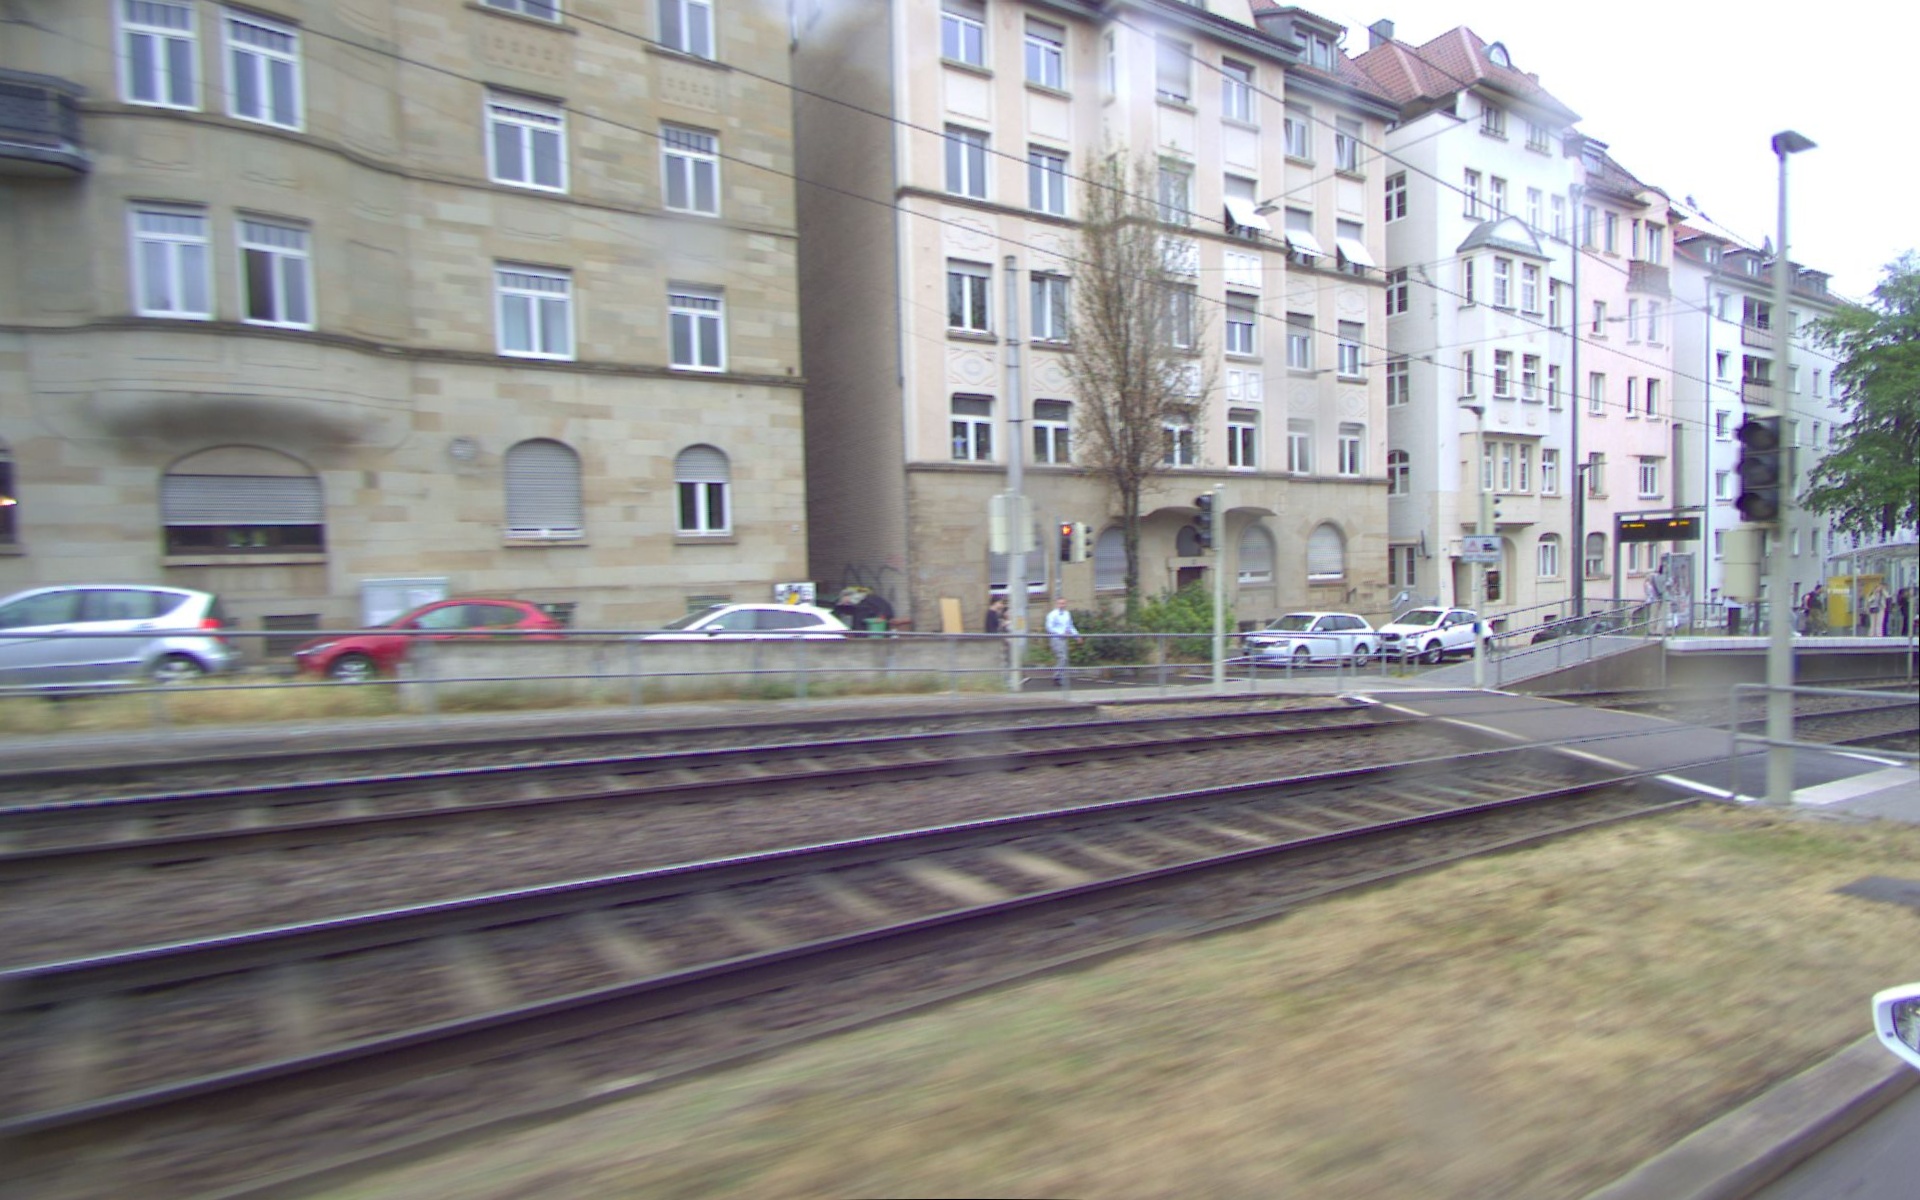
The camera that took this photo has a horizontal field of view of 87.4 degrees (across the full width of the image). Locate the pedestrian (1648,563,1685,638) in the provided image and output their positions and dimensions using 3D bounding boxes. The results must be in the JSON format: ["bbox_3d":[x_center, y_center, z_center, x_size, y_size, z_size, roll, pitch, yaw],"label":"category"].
[{"bbox_3d":[18.031,0.026,25.626,0.592,1.874,0.558,1,-2,-32],"label":"pedestrian"}]

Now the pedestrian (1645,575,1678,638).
[{"bbox_3d":[18.327,0.170,26.236,0.556,1.626,0.513,1,-2,-32],"label":"pedestrian"}]

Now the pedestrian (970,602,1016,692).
[{"bbox_3d":[0.611,0.853,18.557,0.613,1.614,0.622,1,0,-30],"label":"pedestrian"}]

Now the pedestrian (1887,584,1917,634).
[{"bbox_3d":[32.131,0.307,34.265,0.585,1.688,0.591,1,-2,-32],"label":"pedestrian"}]

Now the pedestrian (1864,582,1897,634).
[{"bbox_3d":[30.204,0.262,32.963,0.753,1.688,0.591,1,-2,-32],"label":"pedestrian"}]

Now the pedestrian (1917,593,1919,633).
[{"bbox_3d":[34.771,0.472,35.979,0.607,1.432,0.547,1,-2,-32],"label":"pedestrian"}]

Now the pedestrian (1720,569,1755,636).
[{"bbox_3d":[21.984,0.087,28.405,0.753,1.862,0.513,1,-2,-32],"label":"pedestrian"}]

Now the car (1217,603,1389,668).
[{"bbox_3d":[9.366,0.985,27.360,4.482,1.553,1.983,2,1,-32],"label":"car"}]

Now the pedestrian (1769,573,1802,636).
[{"bbox_3d":[24.918,0.153,30.317,0.753,1.862,0.513,1,-2,-32],"label":"pedestrian"}]

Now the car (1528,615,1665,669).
[{"bbox_3d":[21.816,1.444,34.418,4.756,1.755,1.985,2,-2,-30],"label":"car"}]

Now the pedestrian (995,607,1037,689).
[{"bbox_3d":[1.072,0.908,19.242,0.613,1.552,0.518,1,0,-30],"label":"pedestrian"}]

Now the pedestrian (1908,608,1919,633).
[{"bbox_3d":[34.005,0.731,35.524,0.607,0.883,0.547,1,-2,-32],"label":"pedestrian"}]

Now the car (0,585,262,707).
[{"bbox_3d":[-12.224,0.599,13.865,4.128,1.568,1.622,1,0,-32],"label":"car"}]

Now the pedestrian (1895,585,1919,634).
[{"bbox_3d":[33.017,0.331,34.954,0.607,1.688,0.547,1,-2,-32],"label":"pedestrian"}]

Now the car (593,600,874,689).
[{"bbox_3d":[-4.128,0.764,18.658,4.815,1.461,1.707,1,0,-33],"label":"car"}]

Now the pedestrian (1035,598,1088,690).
[{"bbox_3d":[1.929,0.822,19.171,0.720,1.722,0.716,1,0,-30],"label":"pedestrian"}]

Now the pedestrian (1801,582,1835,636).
[{"bbox_3d":[27.040,0.285,31.654,0.753,1.688,0.591,1,-2,-32],"label":"pedestrian"}]

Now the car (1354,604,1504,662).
[{"bbox_3d":[14.138,0.971,30.226,4.482,1.644,1.914,0,-1,-31],"label":"car"}]

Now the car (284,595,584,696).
[{"bbox_3d":[-8.417,0.681,16.297,4.127,1.461,1.622,1,0,-32],"label":"car"}]
